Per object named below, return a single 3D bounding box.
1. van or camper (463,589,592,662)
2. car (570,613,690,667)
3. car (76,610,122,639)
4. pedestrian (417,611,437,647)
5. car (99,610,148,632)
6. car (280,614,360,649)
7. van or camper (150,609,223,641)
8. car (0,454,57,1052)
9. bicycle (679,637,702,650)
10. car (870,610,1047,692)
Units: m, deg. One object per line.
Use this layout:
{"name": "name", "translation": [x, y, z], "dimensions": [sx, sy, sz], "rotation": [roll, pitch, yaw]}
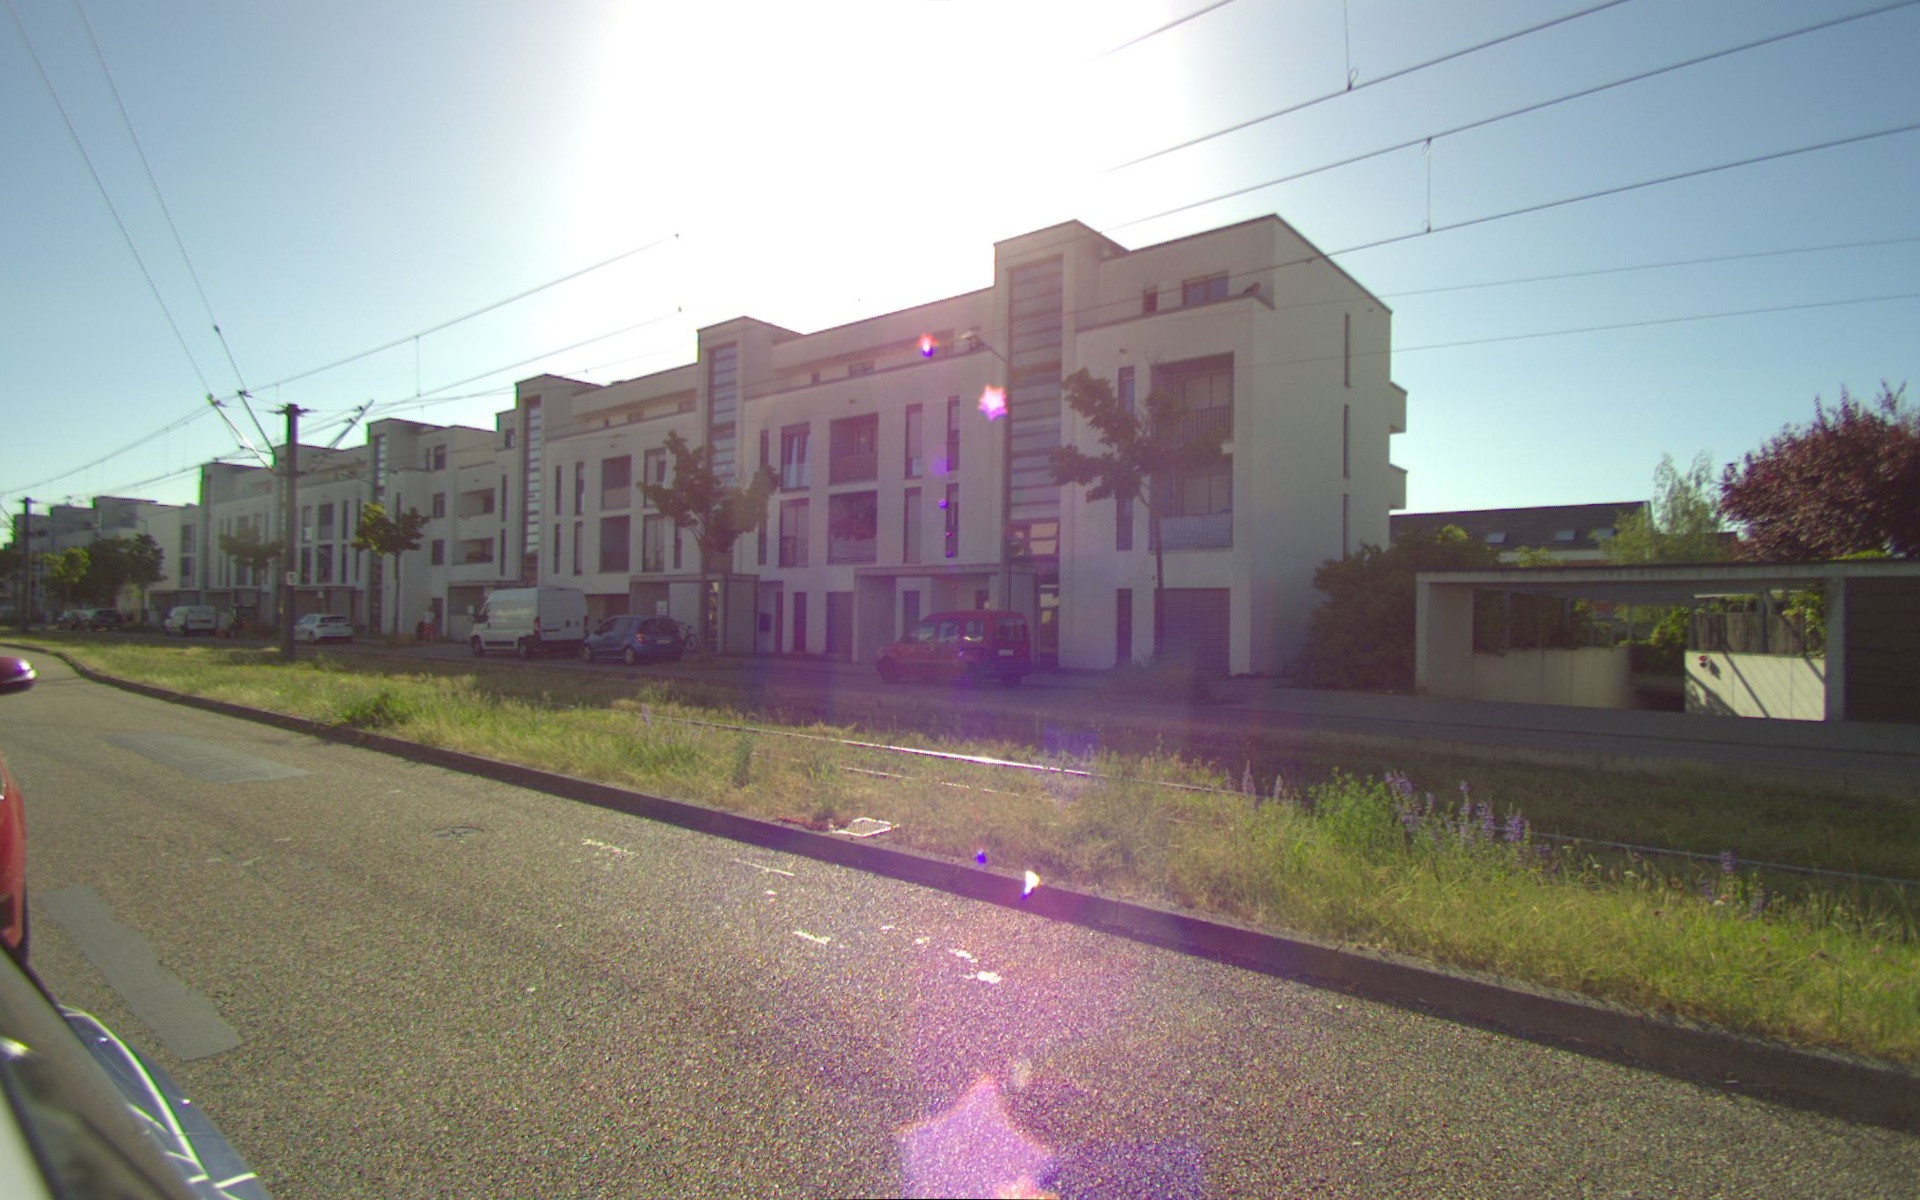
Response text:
{"name": "van or camper", "translation": [-15.733, 0.905, 36.679], "dimensions": [5.256, 2.483, 2.169], "rotation": [-1, -2, 40]}
{"name": "car", "translation": [-10.576, 1.246, 32.314], "dimensions": [3.834, 1.625, 1.909], "rotation": [-1, -2, 41]}
{"name": "car", "translation": [-63.249, 1.802, 74.296], "dimensions": [3.993, 2.029, 1.766], "rotation": [0, 0, 37]}
{"name": "pedestrian", "translation": [-24.812, 1.352, 47.125], "dimensions": [0.611, 1.656, 0.612], "rotation": [0, 0, 34]}
{"name": "car", "translation": [-57.794, 1.449, 69.900], "dimensions": [3.492, 1.449, 1.844], "rotation": [0, 0, 37]}
{"name": "car", "translation": [-31.525, 1.534, 49.839], "dimensions": [4.116, 1.598, 2.022], "rotation": [0, -2, 38]}
{"name": "van or camper", "translation": [-48.249, 1.519, 63.080], "dimensions": [6.280, 1.862, 2.244], "rotation": [0, -1, 40]}
{"name": "car", "translation": [-5.680, 0.541, 4.357], "dimensions": [5.082, 1.984, 2.100], "rotation": [-1, 0, 42]}
{"name": "bicycle", "translation": [-11.056, 1.783, 41.476], "dimensions": [1.060, 0.502, 0.349], "rotation": [-1, -3, 40]}
{"name": "car", "translation": [-0.085, 1.145, 23.483], "dimensions": [3.907, 1.736, 1.770], "rotation": [0, -3, 42]}
